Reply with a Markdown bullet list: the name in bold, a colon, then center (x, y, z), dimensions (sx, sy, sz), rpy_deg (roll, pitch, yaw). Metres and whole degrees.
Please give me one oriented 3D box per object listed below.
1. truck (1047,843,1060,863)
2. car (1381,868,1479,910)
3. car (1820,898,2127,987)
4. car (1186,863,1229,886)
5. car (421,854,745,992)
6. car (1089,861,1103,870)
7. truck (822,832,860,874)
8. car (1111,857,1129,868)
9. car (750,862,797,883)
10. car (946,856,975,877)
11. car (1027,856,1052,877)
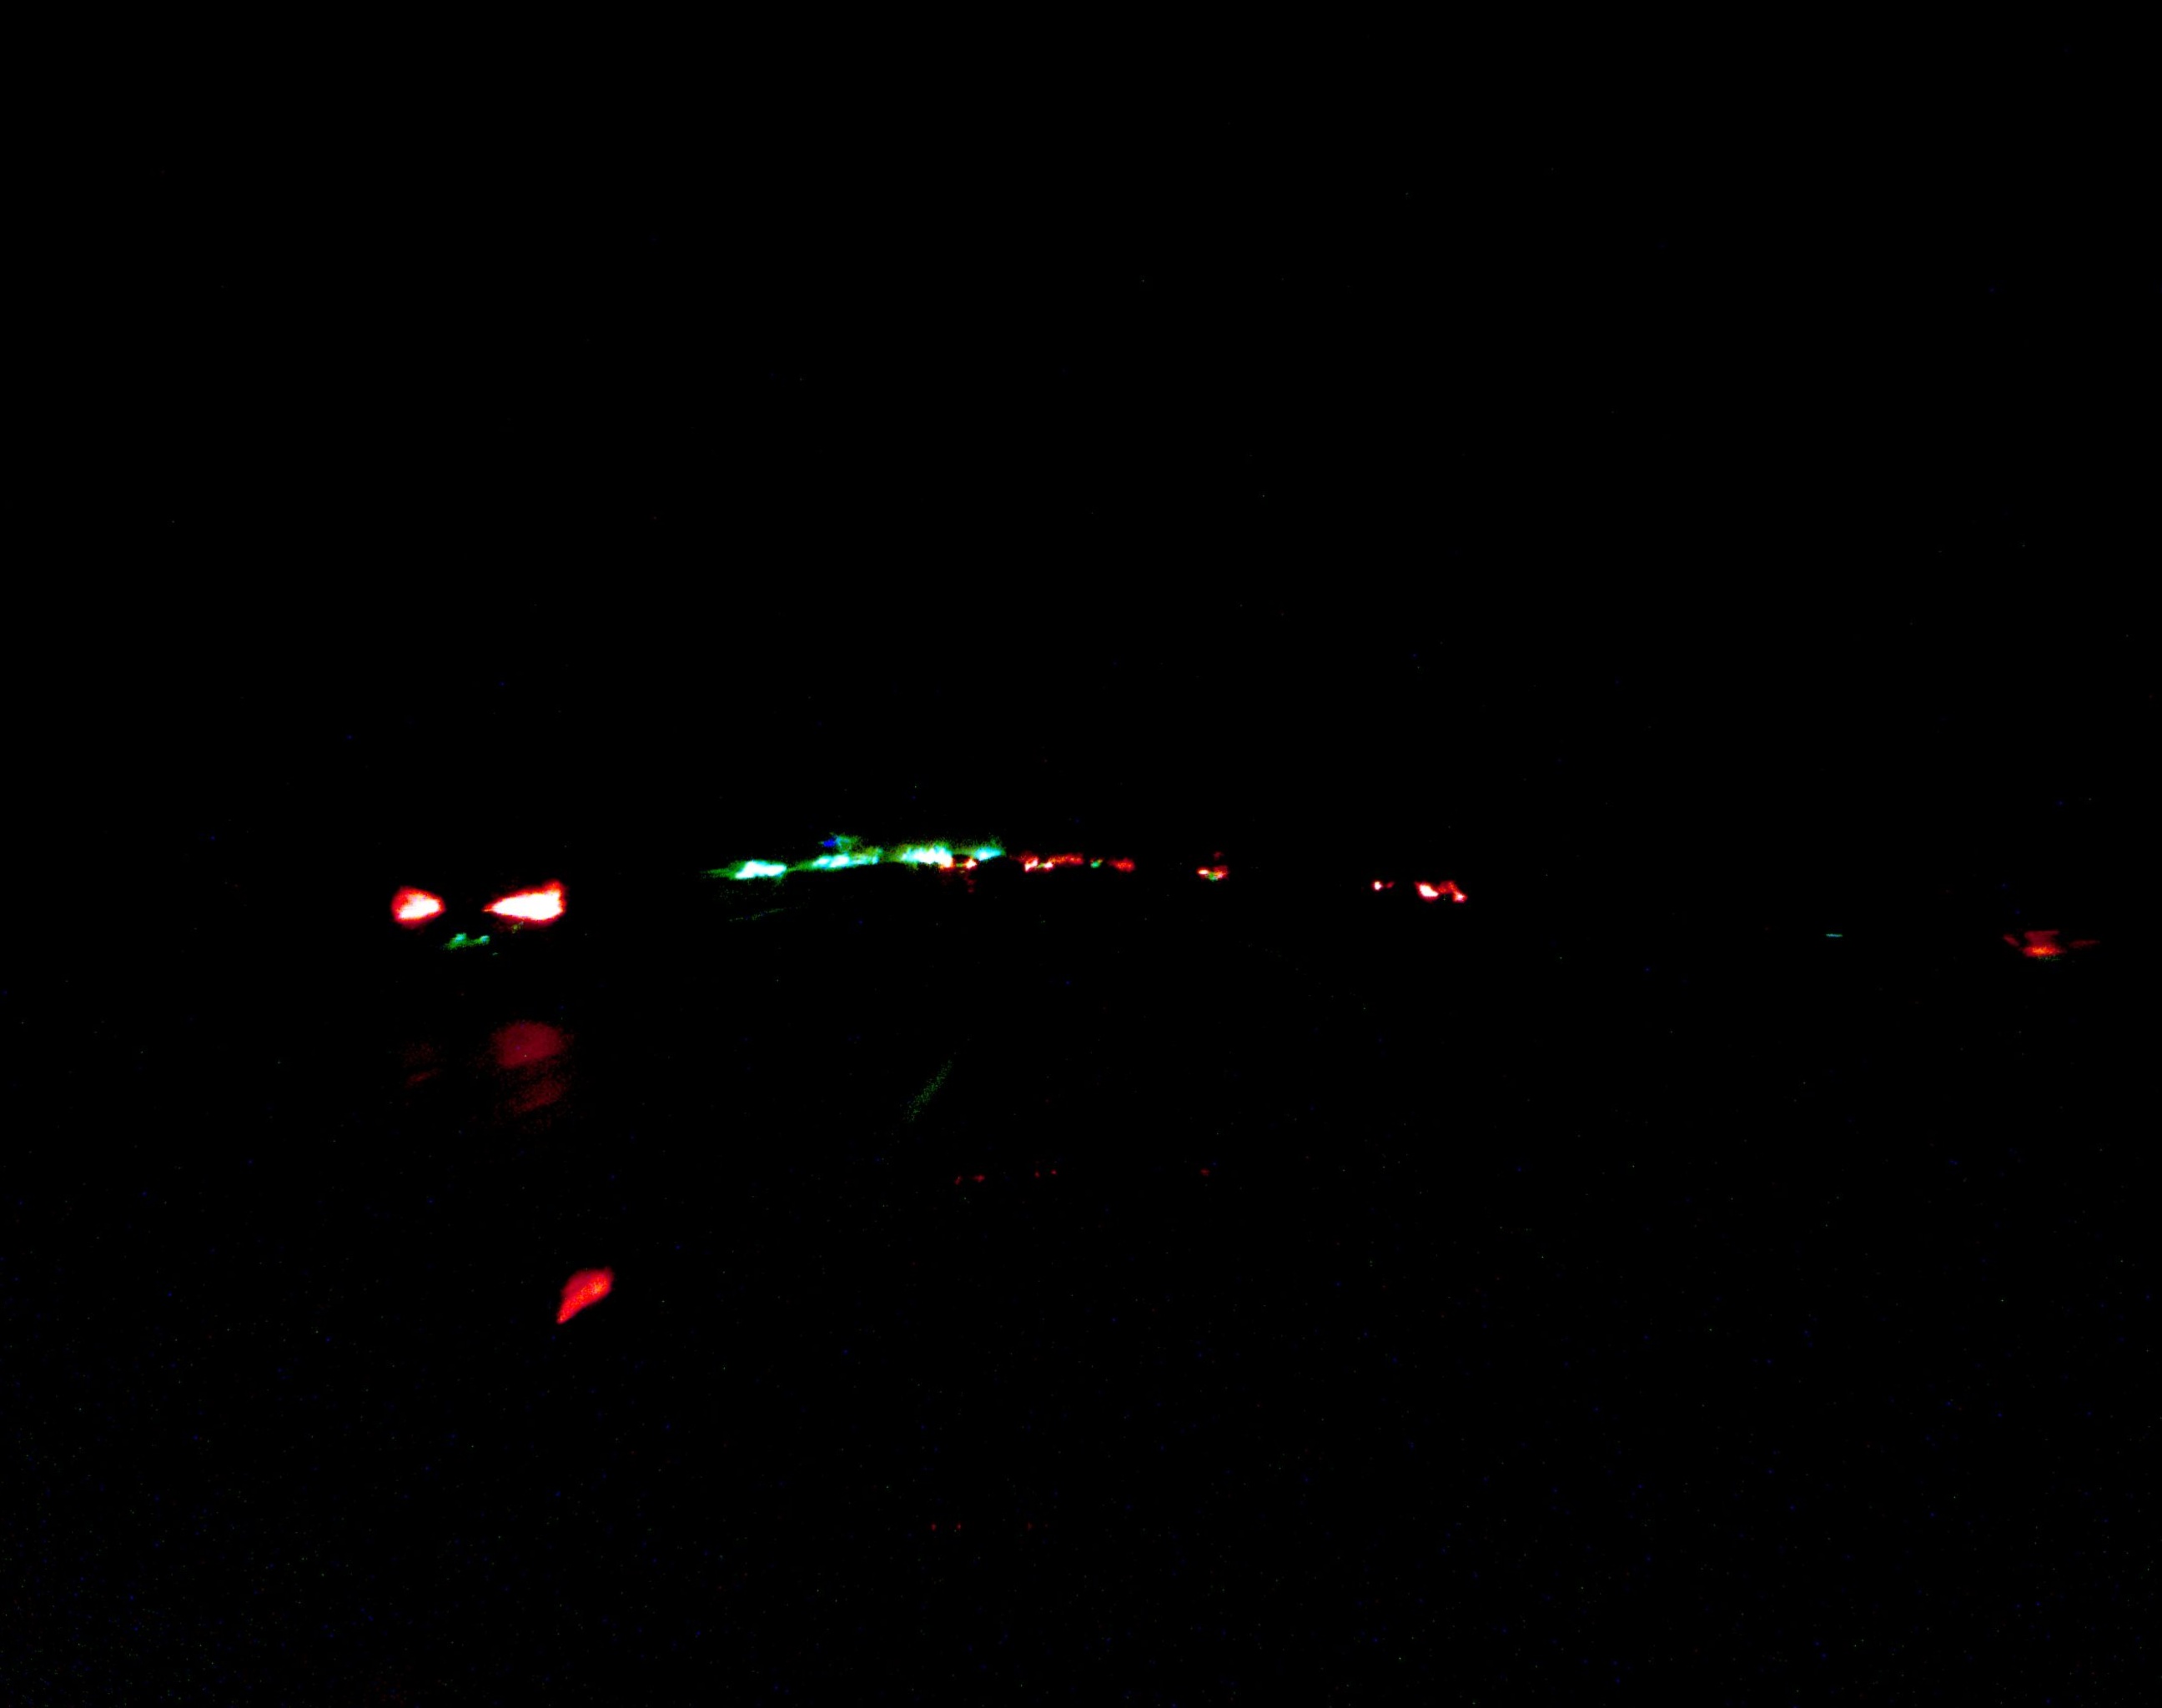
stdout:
- **truck**: center (-4.578, -0.182, 135.521), dimensions (1.988, 3.043, 6.458), rpy_deg (-1, -2, -2)
- **car**: center (13.718, 1.319, 32.283), dimensions (1.987, 1.449, 4.334), rpy_deg (2, 0, 0)
- **car**: center (19.605, 1.876, 18.208), dimensions (1.791, 1.486, 4.309), rpy_deg (2, 0, -13)
- **car**: center (8.949, 1.431, 58.126), dimensions (2.053, 1.519, 5.010), rpy_deg (-2, 0, -3)
- **car**: center (-6.702, 0.814, 11.752), dimensions (1.854, 1.541, 4.746), rpy_deg (2, 0, -3)
- **car**: center (2.087, 1.648, 113.661), dimensions (1.579, 1.246, 3.060), rpy_deg (2, -1, -7)
- **truck**: center (-25.389, -0.030, 86.359), dimensions (2.532, 4.156, 5.634), rpy_deg (-1, -2, -3)
- **car**: center (4.444, 0.958, 92.483), dimensions (1.579, 1.246, 3.061), rpy_deg (1, 0, -7)
- **car**: center (-19.945, 1.220, 52.944), dimensions (1.657, 1.236, 3.758), rpy_deg (-1, -2, -2)
- **car**: center (-7.846, 0.840, 53.264), dimensions (1.660, 1.236, 3.754), rpy_deg (-1, -2, -5)
- **car**: center (-3.203, 0.936, 63.442), dimensions (1.796, 1.487, 3.998), rpy_deg (-2, 0, -1)
